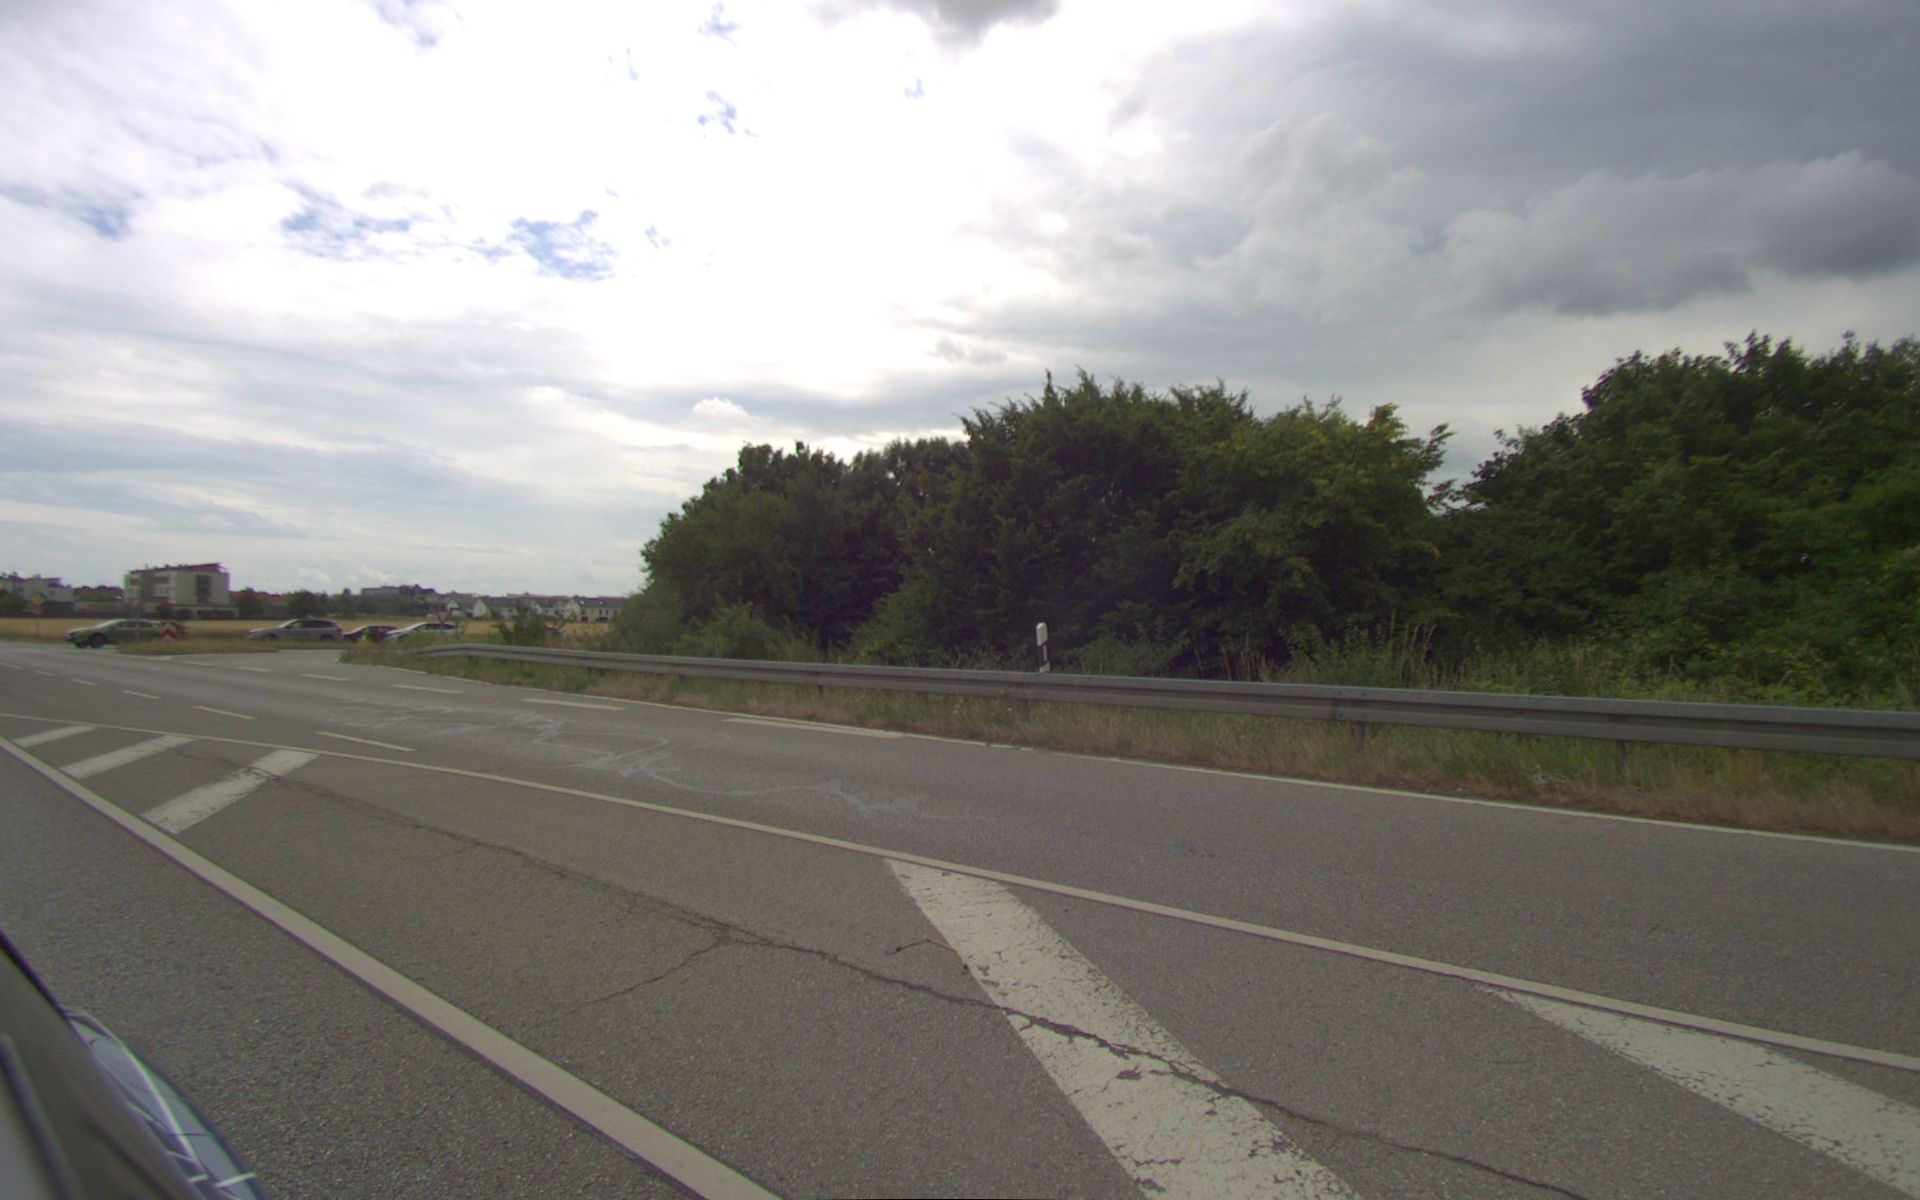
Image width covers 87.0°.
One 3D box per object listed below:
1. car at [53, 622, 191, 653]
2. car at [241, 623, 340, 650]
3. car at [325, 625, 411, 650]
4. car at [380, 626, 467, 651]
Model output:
[{"bbox_3d":[-44.031,1.973,53.339,1.902,1.533,5.253,0,-2,27],"label":"car"},{"bbox_3d":[-39.133,2.126,59.192,4.568,1.528,1.913,2,-2,-43],"label":"car"},{"bbox_3d":[-37.350,2.368,63.877,4.345,1.493,1.913,2,-2,-43],"label":"car"},{"bbox_3d":[-33.635,2.413,63.499,4.437,1.493,1.913,2,-2,-43],"label":"car"}]
